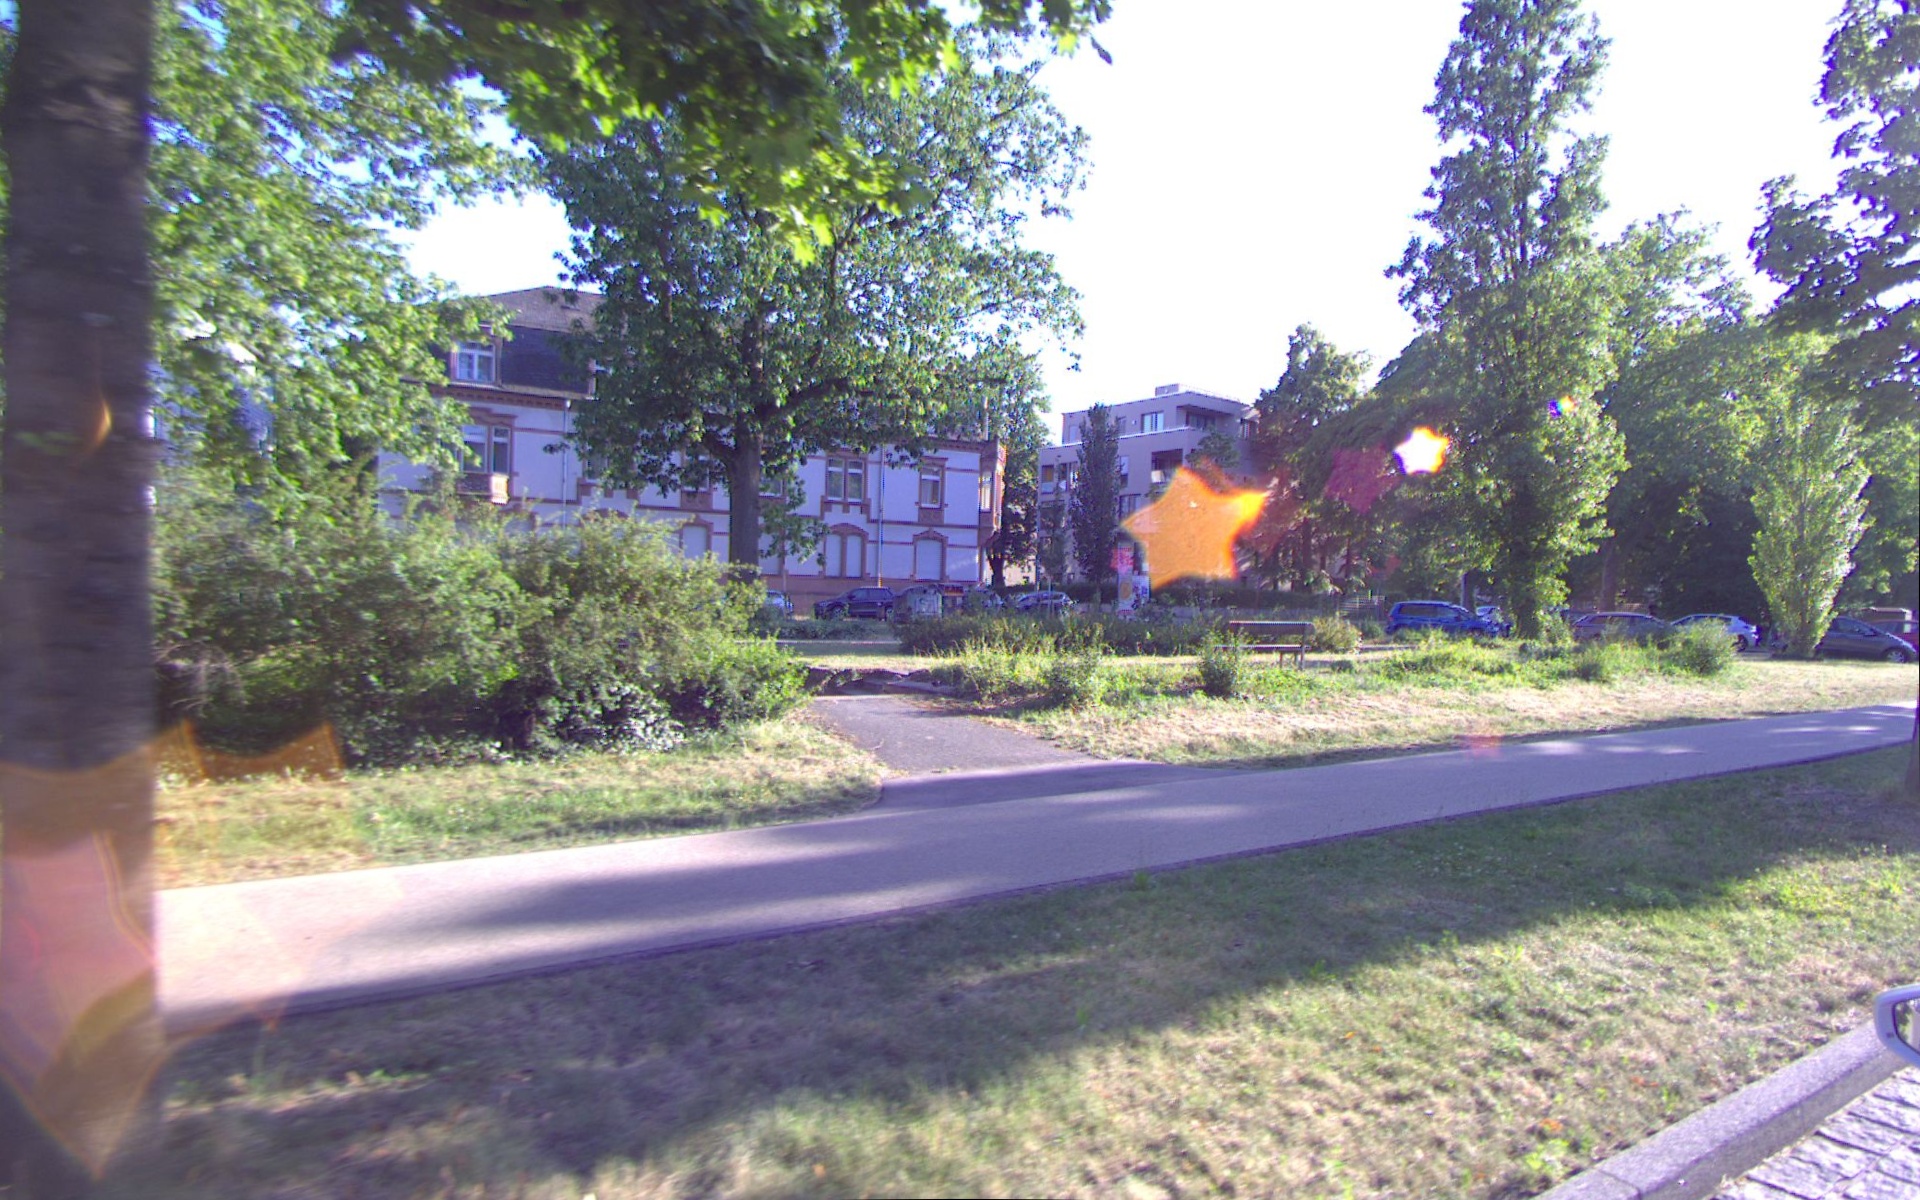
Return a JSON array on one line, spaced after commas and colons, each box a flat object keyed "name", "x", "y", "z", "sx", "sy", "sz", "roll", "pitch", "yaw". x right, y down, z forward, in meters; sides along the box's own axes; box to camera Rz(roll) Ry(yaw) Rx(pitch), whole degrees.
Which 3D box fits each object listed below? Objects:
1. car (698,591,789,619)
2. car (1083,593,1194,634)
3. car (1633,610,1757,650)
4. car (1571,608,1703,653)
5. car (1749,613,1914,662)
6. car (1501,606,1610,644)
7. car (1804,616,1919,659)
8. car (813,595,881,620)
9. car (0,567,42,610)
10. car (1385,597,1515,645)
[{"name": "car", "x": -9.433, "y": 0.226, "z": 43.775, "sx": 3.617, "sy": 1.134, "sz": 1.460, "roll": 1, "pitch": 1, "yaw": -29}, {"name": "car", "x": 5.497, "y": 0.409, "z": 30.854, "sx": 3.057, "sy": 1.175, "sz": 1.522, "roll": 1, "pitch": 1, "yaw": -27}, {"name": "car", "x": 29.794, "y": 1.182, "z": 40.850, "sx": 3.934, "sy": 1.439, "sz": 1.766, "roll": 2, "pitch": 1, "yaw": 35}, {"name": "car", "x": 24.922, "y": 1.089, "z": 37.134, "sx": 3.931, "sy": 1.439, "sz": 1.767, "roll": 2, "pitch": 1, "yaw": 33}, {"name": "car", "x": 29.463, "y": 1.241, "z": 34.133, "sx": 3.929, "sy": 1.439, "sz": 1.768, "roll": 2, "pitch": 1, "yaw": 31}, {"name": "car", "x": 25.872, "y": 1.044, "z": 43.699, "sx": 3.934, "sy": 1.439, "sz": 1.766, "roll": 2, "pitch": 1, "yaw": 35}, {"name": "car", "x": 34.527, "y": 1.386, "z": 37.921, "sx": 3.859, "sy": 1.439, "sz": 1.767, "roll": 2, "pitch": 1, "yaw": 34}, {"name": "car", "x": -5.190, "y": 0.346, "z": 46.175, "sx": 2.852, "sy": 1.038, "sz": 1.316, "roll": 1, "pitch": 1, "yaw": -27}, {"name": "car", "x": -32.289, "y": -0.405, "z": 32.577, "sx": 3.329, "sy": 1.335, "sz": 1.629, "roll": 1, "pitch": 2, "yaw": -24}, {"name": "car", "x": 19.838, "y": 0.809, "z": 40.758, "sx": 4.471, "sy": 1.708, "sz": 1.765, "roll": 2, "pitch": 1, "yaw": 36}]
